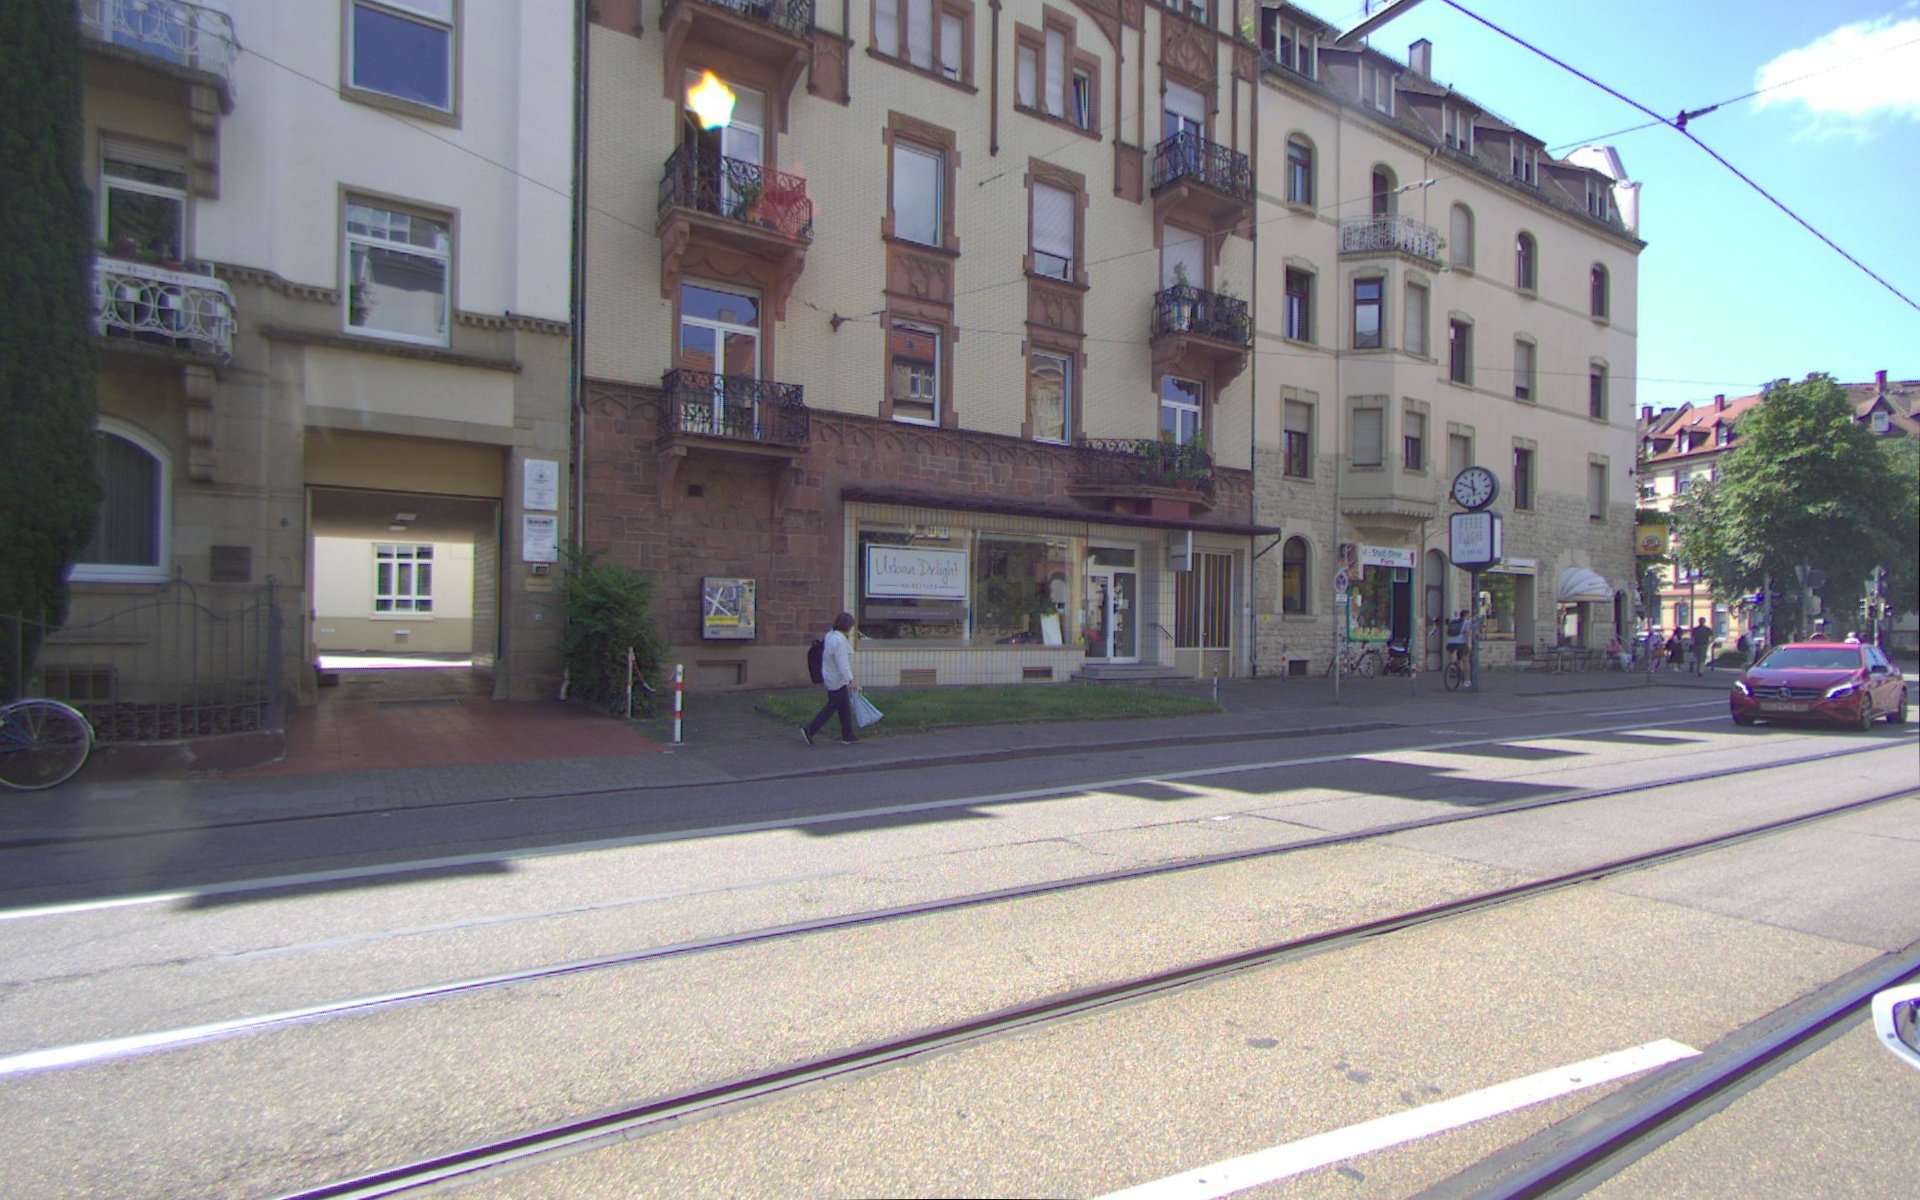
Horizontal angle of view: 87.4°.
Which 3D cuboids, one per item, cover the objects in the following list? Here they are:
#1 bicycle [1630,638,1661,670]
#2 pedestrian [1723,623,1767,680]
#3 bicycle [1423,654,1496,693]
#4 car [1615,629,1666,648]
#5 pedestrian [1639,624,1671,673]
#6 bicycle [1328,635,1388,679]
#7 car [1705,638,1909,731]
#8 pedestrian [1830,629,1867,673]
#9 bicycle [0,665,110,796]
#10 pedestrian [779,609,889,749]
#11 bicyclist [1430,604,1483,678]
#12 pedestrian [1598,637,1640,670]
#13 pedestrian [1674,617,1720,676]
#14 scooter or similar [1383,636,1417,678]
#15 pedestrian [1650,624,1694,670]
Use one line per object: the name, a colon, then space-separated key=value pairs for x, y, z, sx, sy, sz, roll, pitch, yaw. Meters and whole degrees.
bicycle: x=25.184 y=1.986 z=36.900 sx=0.534 sy=1.143 sz=1.683 roll=1 pitch=-3 yaw=20
pedestrian: x=25.080 y=1.634 z=32.105 sx=0.766 sy=1.756 sz=0.855 roll=1 pitch=0 yaw=-31
bicycle: x=11.659 y=1.694 z=23.421 sx=1.802 sy=0.828 sz=0.747 roll=2 pitch=-1 yaw=-35
car: x=56.818 y=3.210 z=83.928 sx=1.654 sy=1.491 sz=3.467 roll=1 pitch=-1 yaw=-8
pedestrian: x=23.839 y=1.653 z=34.450 sx=0.798 sy=1.616 sz=0.915 roll=0 pitch=-1 yaw=42
bicycle: x=10.368 y=1.486 z=26.195 sx=1.438 sy=1.080 sz=0.370 roll=2 pitch=0 yaw=-10
car: x=14.890 y=1.394 z=17.586 sx=4.388 sy=1.432 sz=1.810 roll=2 pitch=-3 yaw=-38
pedestrian: x=36.272 y=2.058 z=41.001 sx=0.830 sy=1.746 sz=0.912 roll=1 pitch=-1 yaw=-30
bicycle: x=-7.767 y=1.004 z=7.712 sx=1.822 sy=0.973 sz=0.408 roll=3 pitch=1 yaw=-34
pedestrian: x=-1.499 y=0.900 z=11.910 sx=0.975 sy=1.563 sz=0.894 roll=1 pitch=-1 yaw=-36
bicyclist: x=11.547 y=0.947 z=23.368 sx=0.822 sy=1.685 sz=0.751 roll=2 pitch=0 yaw=-34
pedestrian: x=22.616 y=1.838 z=34.480 sx=0.873 sy=1.092 sz=0.911 roll=1 pitch=-1 yaw=-32
pedestrian: x=24.480 y=1.517 z=33.350 sx=1.152 sy=1.916 sz=0.895 roll=1 pitch=-1 yaw=-34
scooter or similar: x=12.051 y=1.546 z=27.531 sx=0.682 sy=1.058 sz=1.210 roll=2 pitch=0 yaw=17
pedestrian: x=26.212 y=1.728 z=36.992 sx=0.850 sy=1.657 sz=1.021 roll=1 pitch=-1 yaw=-21
